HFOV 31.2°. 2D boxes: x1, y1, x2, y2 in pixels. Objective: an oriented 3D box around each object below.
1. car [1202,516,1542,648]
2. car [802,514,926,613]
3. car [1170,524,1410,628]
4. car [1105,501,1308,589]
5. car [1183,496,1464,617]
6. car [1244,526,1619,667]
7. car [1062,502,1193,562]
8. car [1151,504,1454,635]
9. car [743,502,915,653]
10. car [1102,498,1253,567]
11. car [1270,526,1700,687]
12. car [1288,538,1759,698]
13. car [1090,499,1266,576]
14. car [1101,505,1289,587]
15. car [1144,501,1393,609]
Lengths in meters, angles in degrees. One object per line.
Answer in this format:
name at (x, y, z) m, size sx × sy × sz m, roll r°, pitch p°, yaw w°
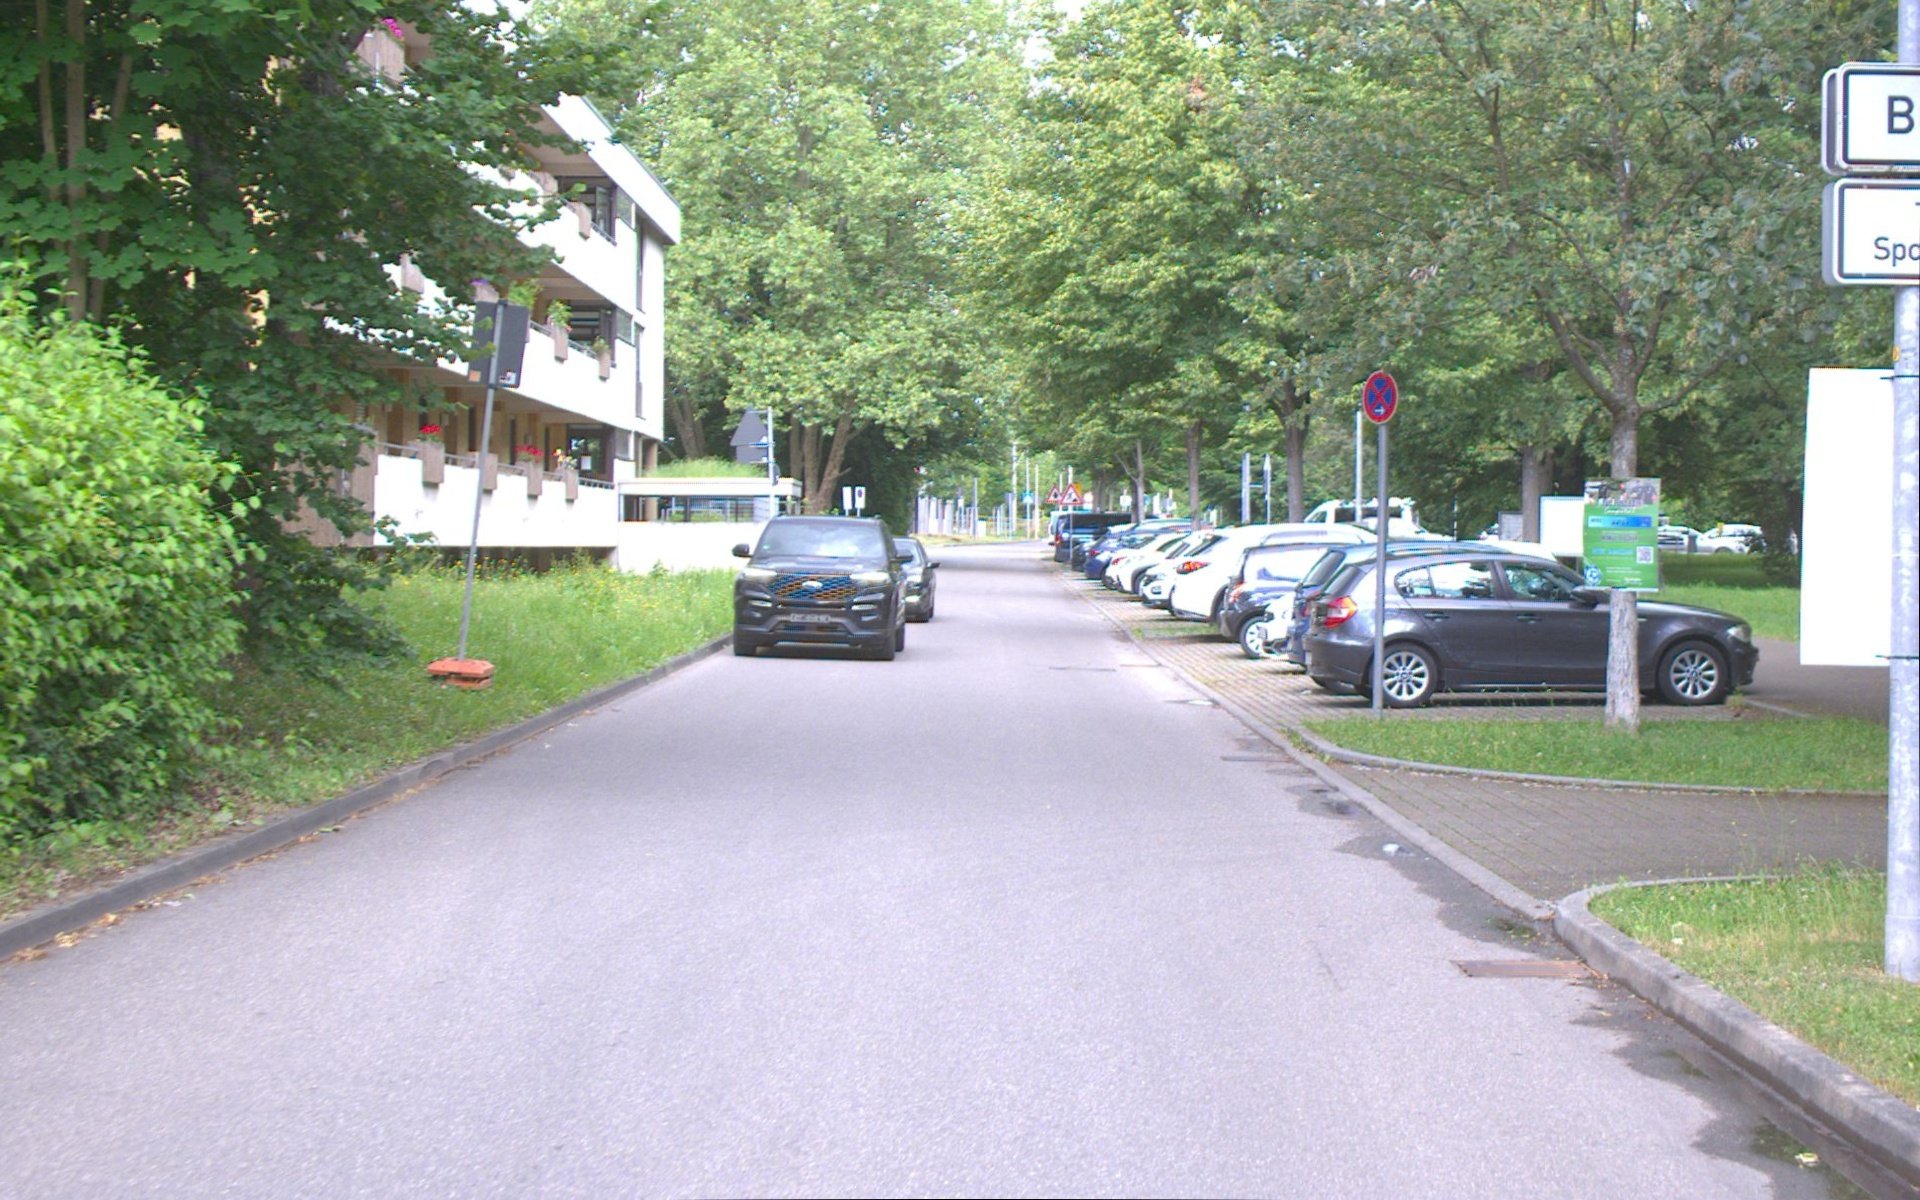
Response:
car at (5.294, -0.251, 44.468) m, size 4.062 × 1.483 × 1.823 m, roll -3°, pitch 1°, yaw -3°
car at (-1.596, -0.641, 58.405) m, size 1.968 × 1.570 × 4.338 m, roll 1°, pitch 1°, yaw 0°
car at (5.979, -0.452, 62.607) m, size 4.062 × 1.681 × 1.823 m, roll -3°, pitch 1°, yaw -3°
car at (5.229, -1.188, 73.314) m, size 4.062 × 1.681 × 1.823 m, roll -3°, pitch 1°, yaw -3°
car at (5.642, -0.697, 53.685) m, size 4.062 × 1.681 × 1.823 m, roll -3°, pitch 1°, yaw -3°
car at (5.388, -0.055, 39.652) m, size 4.063 × 1.563 × 1.823 m, roll 0°, pitch 1°, yaw 0°
car at (5.477, -2.232, 112.475) m, size 4.062 × 1.764 × 1.823 m, roll -3°, pitch 1°, yaw -3°
car at (4.902, -0.449, 49.597) m, size 4.062 × 1.681 × 1.823 m, roll -3°, pitch 1°, yaw -3°
car at (-1.588, -0.315, 42.981) m, size 1.968 × 1.741 × 4.338 m, roll 1°, pitch 1°, yaw 0°
car at (6.179, -1.922, 97.913) m, size 4.062 × 1.764 × 1.823 m, roll -3°, pitch 1°, yaw -3°
car at (5.260, 0.067, 34.836) m, size 4.063 × 1.563 × 1.822 m, roll 0°, pitch 0°, yaw 0°
car at (5.203, 0.169, 32.147) m, size 4.063 × 1.429 × 2.000 m, roll 0°, pitch 0°, yaw 0°
car at (5.320, -1.542, 84.191) m, size 4.062 × 1.681 × 1.823 m, roll -3°, pitch 1°, yaw -3°
car at (5.368, -1.253, 78.954) m, size 4.062 × 1.681 × 1.823 m, roll -3°, pitch 1°, yaw -3°
car at (5.364, -0.801, 60.128) m, size 4.062 × 1.681 × 1.823 m, roll -3°, pitch 1°, yaw -3°
